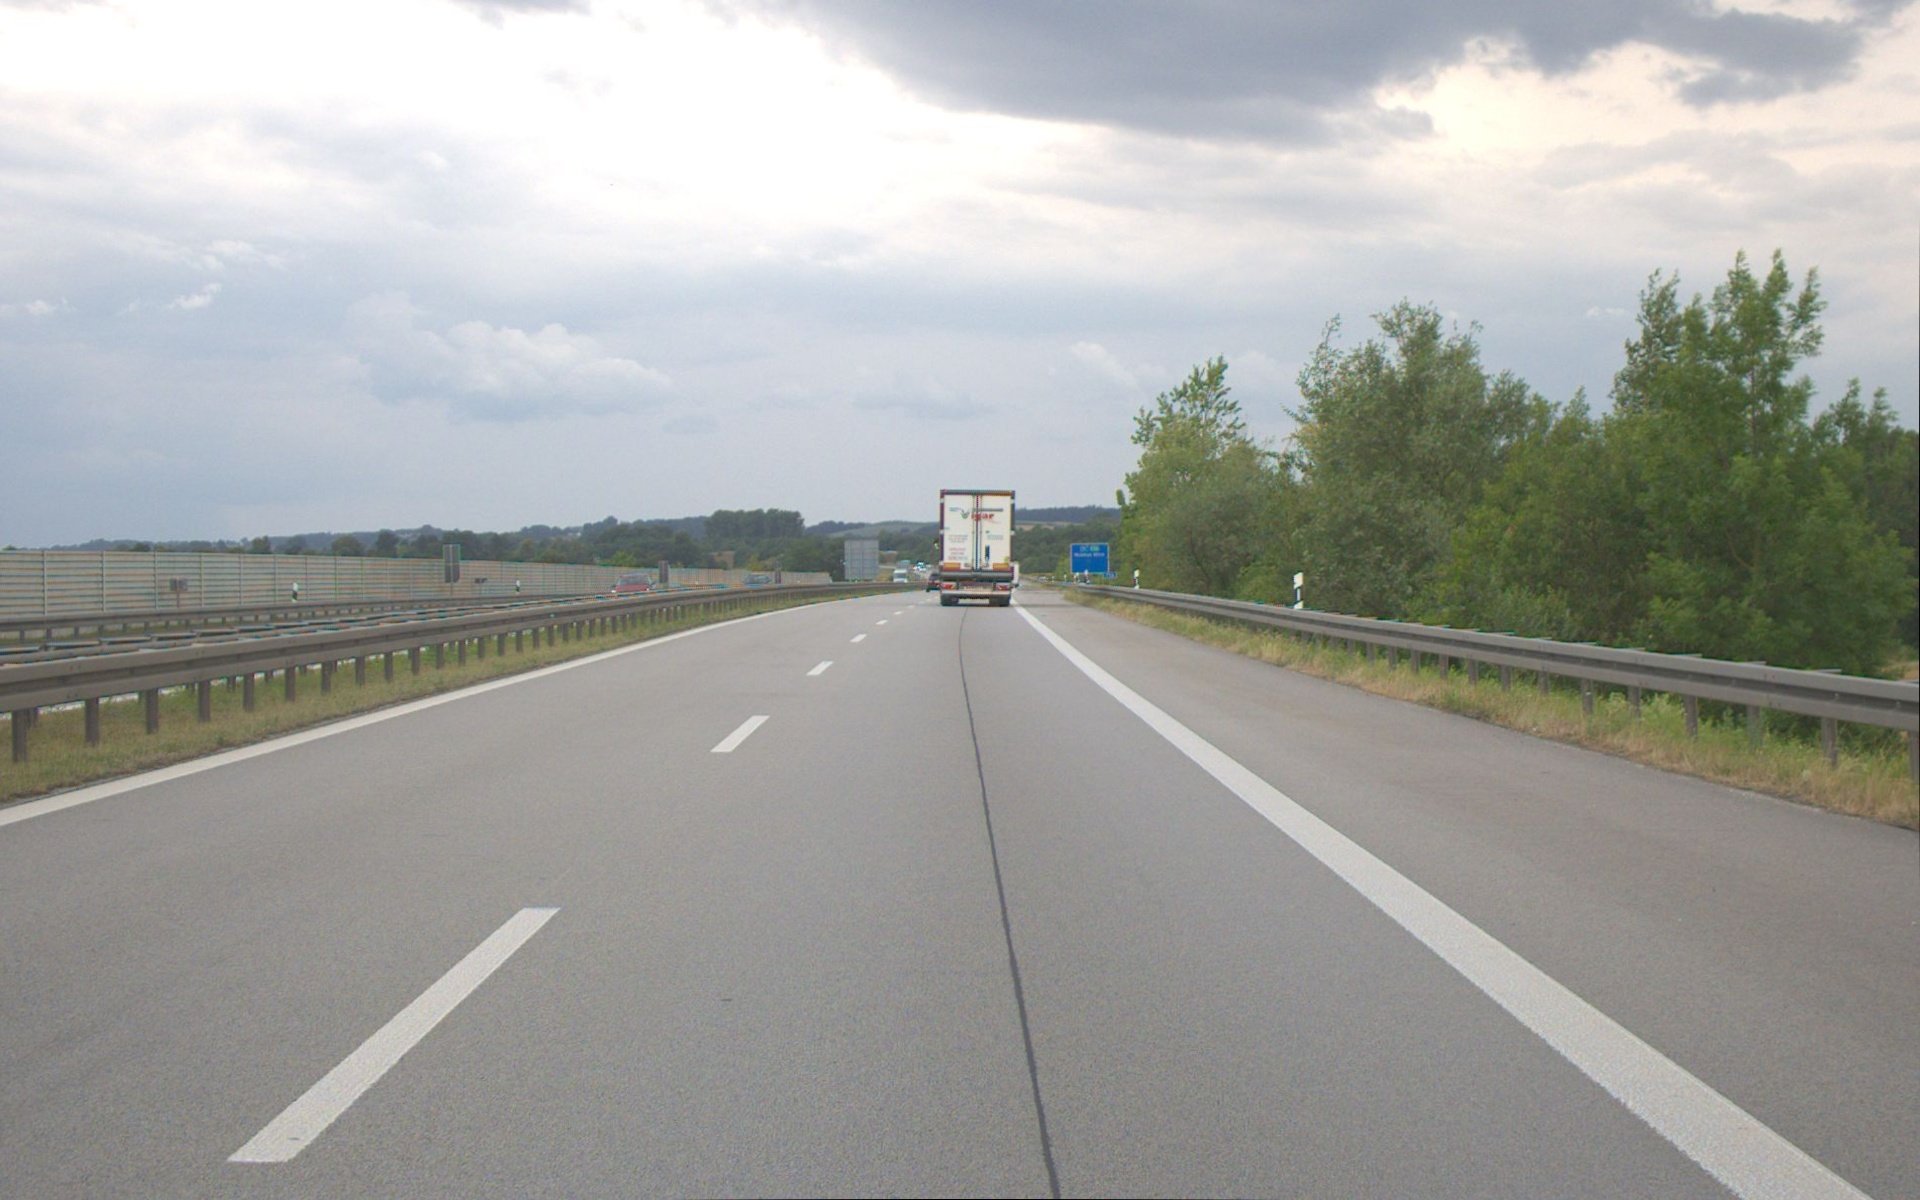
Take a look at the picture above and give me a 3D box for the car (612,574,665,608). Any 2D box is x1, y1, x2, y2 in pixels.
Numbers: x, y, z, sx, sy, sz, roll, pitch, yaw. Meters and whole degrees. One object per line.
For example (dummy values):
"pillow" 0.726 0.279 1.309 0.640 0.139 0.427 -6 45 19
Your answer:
"car" -14.246 -0.422 152.508 1.818 1.398 4.876 -1 1 0

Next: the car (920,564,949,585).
"car" -1.967 -1.935 260.672 1.993 1.415 4.001 1 2 -3

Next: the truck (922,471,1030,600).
"truck" 0.519 -2.297 126.415 3.672 4.397 16.341 0 0 0
